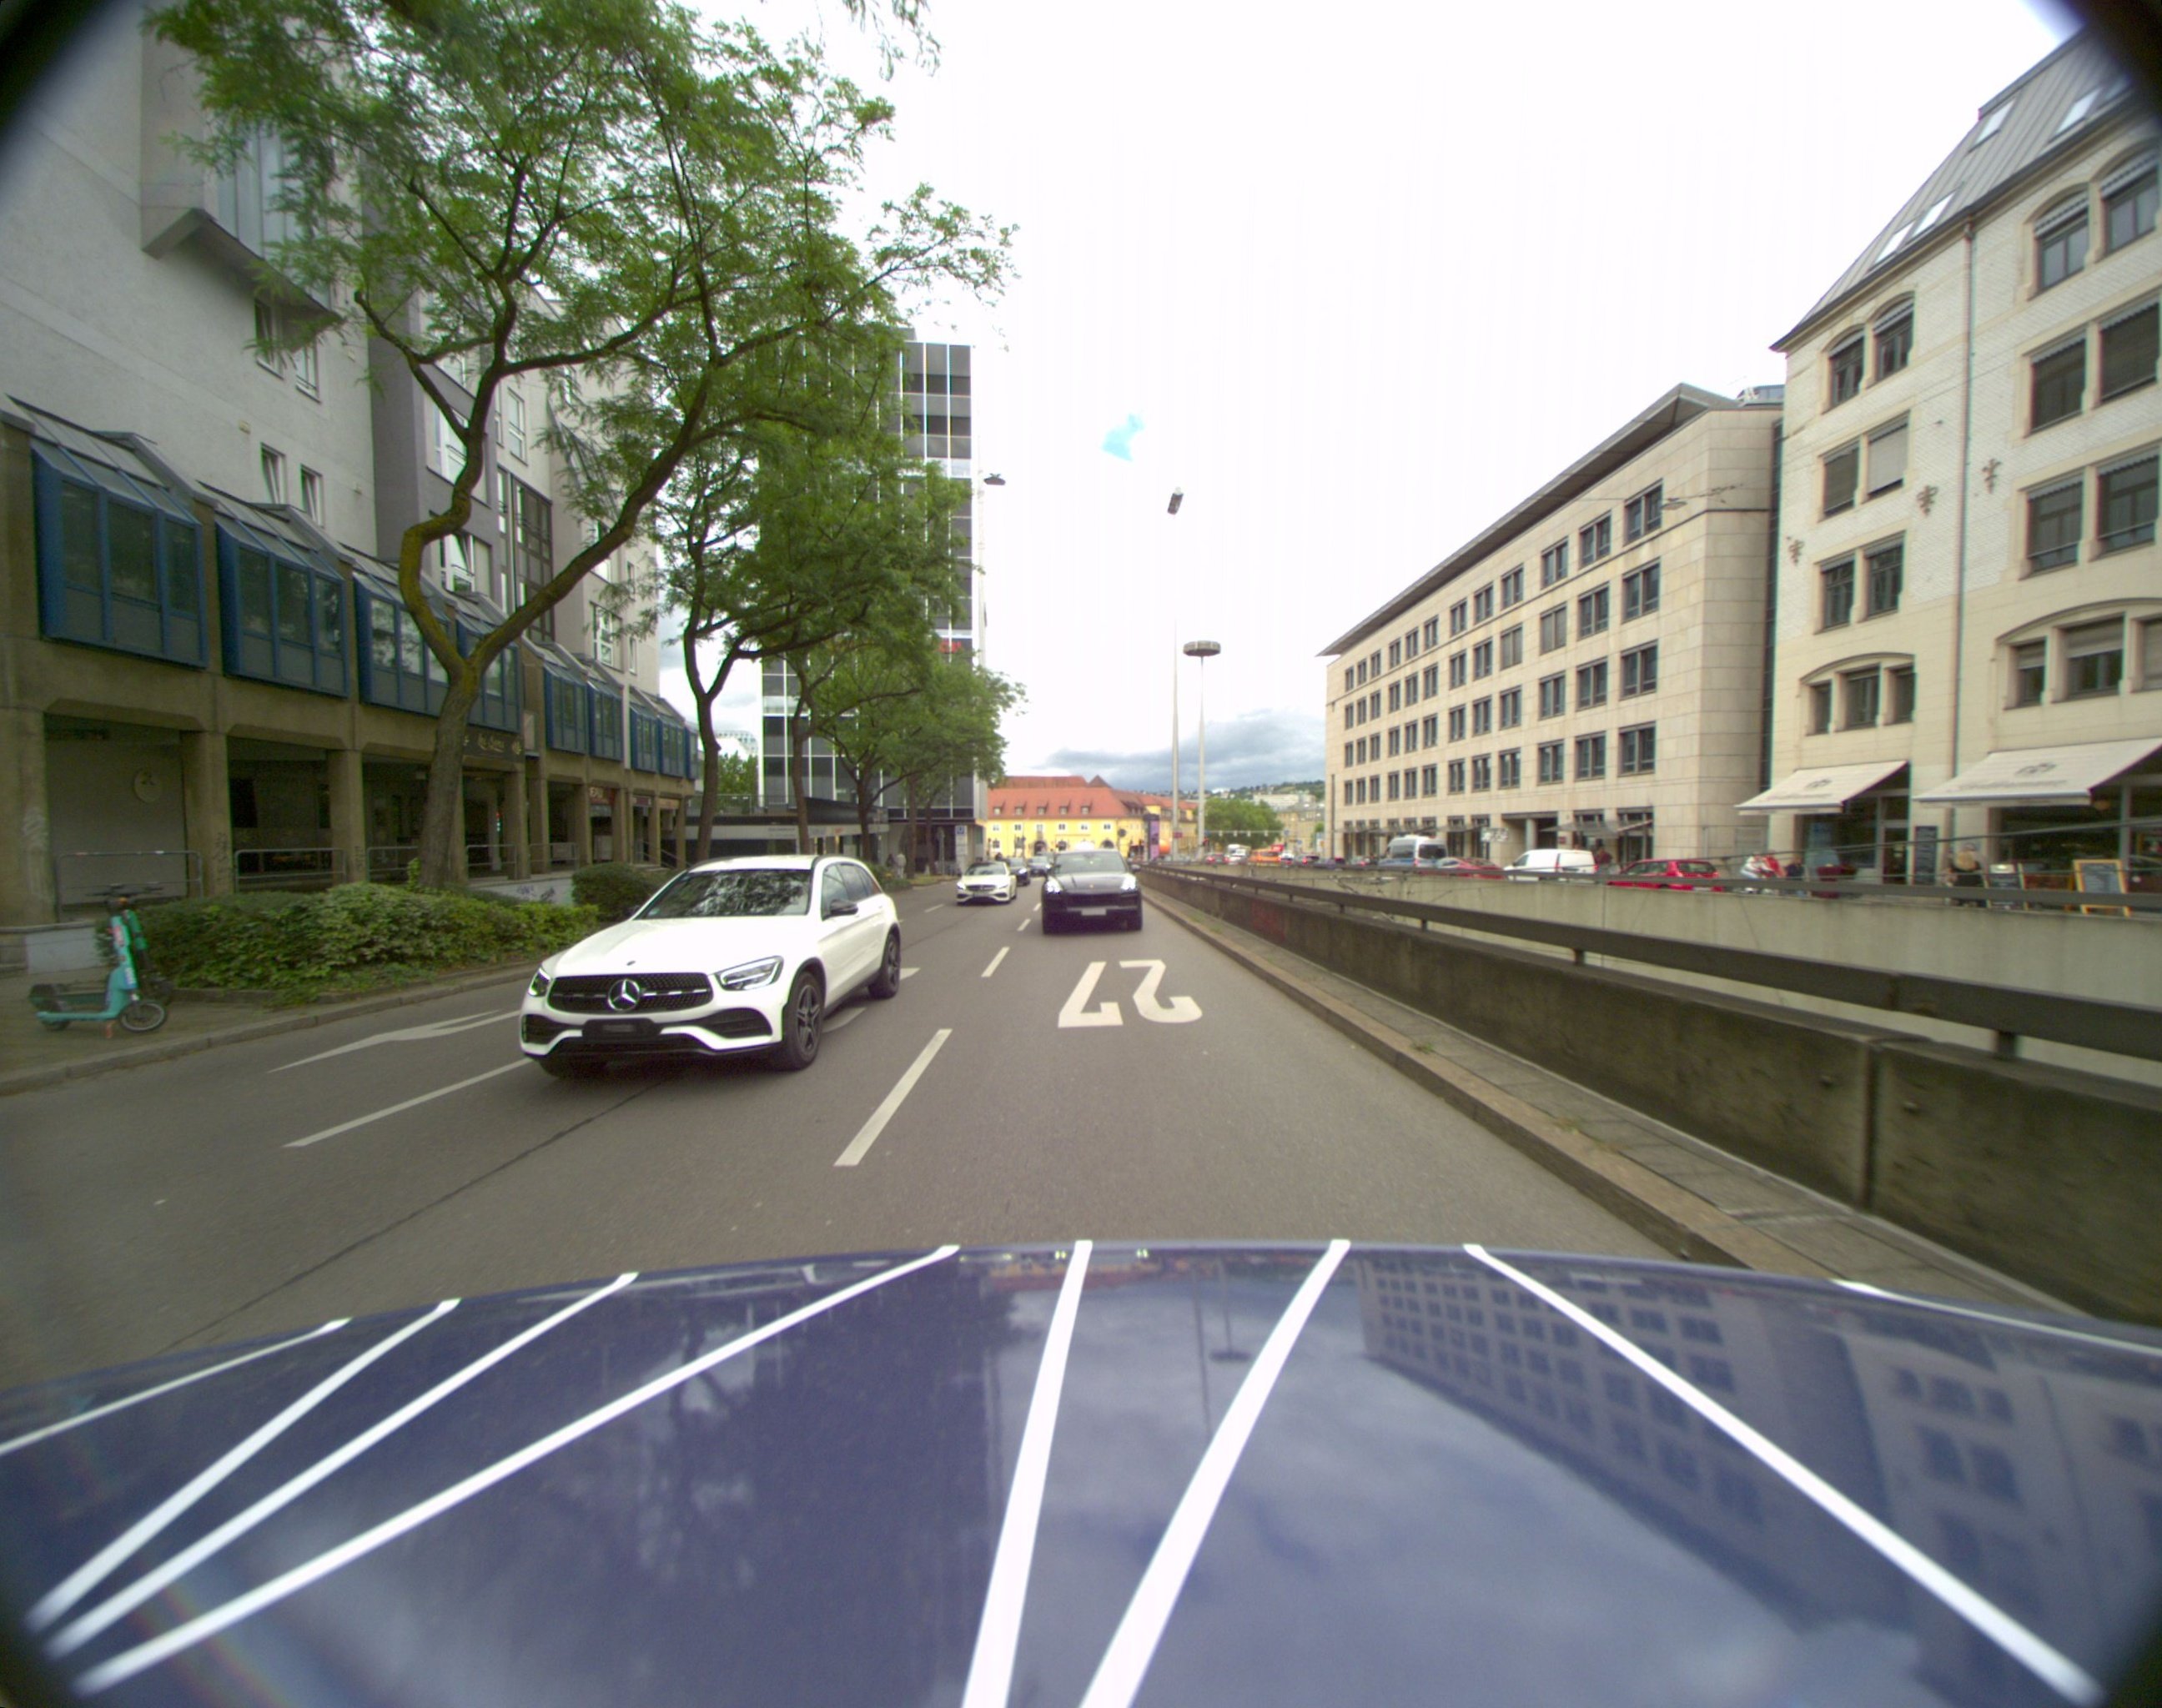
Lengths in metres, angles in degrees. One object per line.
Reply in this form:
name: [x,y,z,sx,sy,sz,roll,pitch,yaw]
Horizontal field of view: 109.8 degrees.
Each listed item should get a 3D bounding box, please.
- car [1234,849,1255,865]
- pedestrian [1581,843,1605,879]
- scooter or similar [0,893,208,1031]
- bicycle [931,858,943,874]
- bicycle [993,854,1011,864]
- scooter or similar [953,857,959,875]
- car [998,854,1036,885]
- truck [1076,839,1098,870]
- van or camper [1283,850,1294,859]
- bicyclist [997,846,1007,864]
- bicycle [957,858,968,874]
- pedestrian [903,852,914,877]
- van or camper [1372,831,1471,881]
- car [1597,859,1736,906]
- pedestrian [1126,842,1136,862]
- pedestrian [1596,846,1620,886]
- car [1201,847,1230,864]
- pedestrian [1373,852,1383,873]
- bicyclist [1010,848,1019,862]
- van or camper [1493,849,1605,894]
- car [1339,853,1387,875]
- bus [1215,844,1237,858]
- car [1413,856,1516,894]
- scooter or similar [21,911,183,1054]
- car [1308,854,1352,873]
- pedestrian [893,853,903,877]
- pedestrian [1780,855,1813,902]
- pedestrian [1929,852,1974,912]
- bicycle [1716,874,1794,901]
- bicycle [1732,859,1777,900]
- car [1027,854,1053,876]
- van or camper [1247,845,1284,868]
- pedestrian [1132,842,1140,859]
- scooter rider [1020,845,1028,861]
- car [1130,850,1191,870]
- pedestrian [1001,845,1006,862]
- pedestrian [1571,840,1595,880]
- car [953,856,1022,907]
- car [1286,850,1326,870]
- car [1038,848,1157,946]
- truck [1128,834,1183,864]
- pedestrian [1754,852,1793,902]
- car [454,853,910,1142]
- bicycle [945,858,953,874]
car: [17.028,0.293,79.155,1.736,1.589,4.324,1,1,18]
pedestrian: [22.599,0.304,33.552,0.553,1.567,0.680,-2,1,-1]
scooter or similar: [-9.802,1.053,7.645,1.199,1.261,0.724,1,1,0]
bicycle: [-10.389,0.843,54.861,0.490,1.126,1.688,0,1,1]
bicycle: [-8.456,0.532,81.147,1.763,1.001,0.682,1,-1,25]
scooter or similar: [-9.046,0.882,55.028,0.307,1.244,0.995,0,1,-13]
car: [-3.354,0.791,40.286,1.707,1.524,3.763,0,0,0]
truck: [0.526,-0.023,71.265,1.955,2.768,5.788,-1,1,0]
van or camper: [45.469,0.109,166.352,1.861,1.905,4.721,1,1,21]
bicyclist: [-8.423,0.108,81.118,0.812,1.835,0.676,2,2,25]
bicycle: [-8.520,0.844,54.606,0.491,1.126,1.843,0,1,-1]
pedestrian: [-12.075,0.724,53.194,0.597,1.744,0.940,1,1,-6]
van or camper: [19.848,0.103,44.729,3.009,2.710,6.245,1,1,0]
car: [19.367,0.890,25.344,1.792,1.397,3.582,0,0,-2]
pedestrian: [5.289,-0.192,80.604,0.879,2.160,0.761,0,1,-18]
pedestrian: [23.368,0.534,33.705,0.553,1.743,0.680,0,0,-1]
car: [12.582,0.108,71.237,1.923,1.518,4.541,0,0,-1]
pedestrian: [22.676,0.633,58.089,0.501,1.615,0.627,0,1,0]
bicyclist: [-7.263,0.093,82.997,0.566,1.541,0.844,0,2,-29]
van or camper: [19.488,0.656,31.900,1.873,1.741,4.486,0,0,-1]
car: [19.549,0.661,52.792,1.773,1.440,4.029,2,1,0]
bus: [35.021,-0.685,183.179,3.427,3.185,13.083,2,0,19]
car: [16.392,0.844,32.779,1.998,1.456,4.885,0,0,0]
scooter or similar: [-8.871,1.139,6.892,1.109,1.175,0.428,1,1,10]
car: [19.328,0.720,59.115,1.998,1.387,4.572,0,1,1]
pedestrian: [-12.796,0.767,53.114,0.597,1.619,0.757,1,1,-6]
pedestrian: [22.791,0.763,24.202,0.550,1.466,0.541,0,1,0]
pedestrian: [22.525,0.719,19.665,0.480,1.529,0.583,1,1,5]
bicycle: [21.196,1.046,23.949,0.634,0.757,1.958,0,0,-3]
bicycle: [21.189,0.805,23.909,0.634,1.253,0.844,0,1,-4]
car: [-2.949,0.747,55.058,1.707,1.524,3.763,0,0,0]
van or camper: [15.947,0.181,65.953,1.918,1.910,5.082,2,1,0]
pedestrian: [6.112,-0.383,84.767,0.717,1.780,0.634,3,0,0]
scooter rider: [-6.278,-0.099,84.018,0.594,1.798,0.641,-1,2,-42]
car: [6.058,0.465,57.660,4.559,1.450,1.882,0,1,8]
pedestrian: [-7.893,-0.093,77.304,0.526,1.702,0.752,1,3,-5]
pedestrian: [23.367,0.272,35.387,0.618,1.864,0.680,0,1,-1]
car: [-3.166,0.880,26.645,1.870,1.560,4.651,0,1,-1]
car: [19.229,0.465,65.249,1.999,1.636,4.682,1,1,0]
car: [0.244,0.767,15.590,2.005,1.628,5.020,-2,-1,-1]
truck: [10.119,-0.705,102.510,2.720,3.597,9.195,3,5,40]
pedestrian: [21.925,0.720,24.067,0.584,1.572,0.713,0,1,0]
car: [-2.983,0.902,6.938,1.806,1.637,4.332,-3,1,-1]
bicycle: [-9.496,0.848,54.688,0.491,1.126,1.886,0,1,-6]
